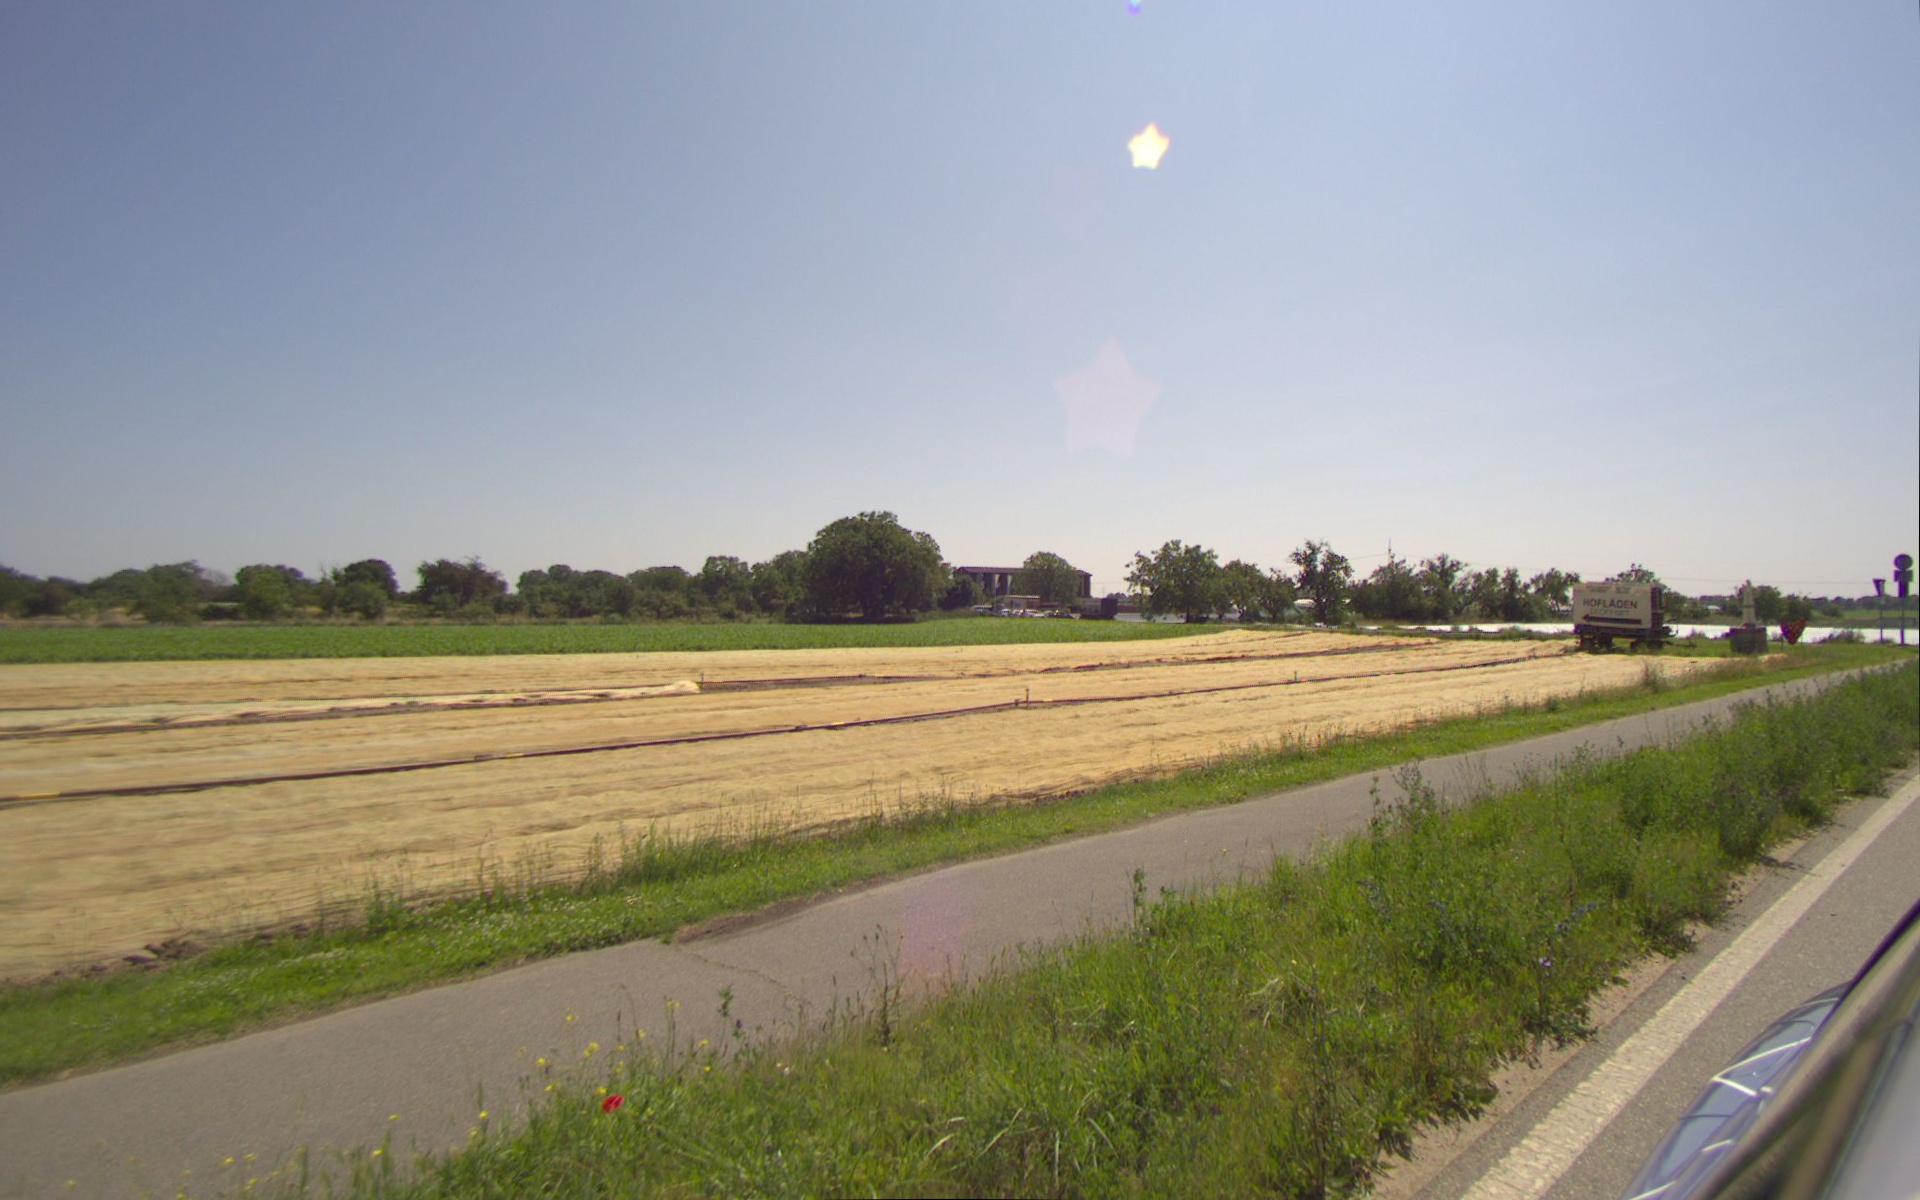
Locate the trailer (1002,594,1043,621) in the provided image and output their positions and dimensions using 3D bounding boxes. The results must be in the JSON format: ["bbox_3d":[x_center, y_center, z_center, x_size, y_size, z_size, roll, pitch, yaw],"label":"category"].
[{"bbox_3d":[10.284,1.267,167.052,3.094,4.275,7.447,0,-1,-30],"label":"trailer"}]

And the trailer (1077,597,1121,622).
[{"bbox_3d":[19.193,1.313,140.216,3.191,3.336,7.455,0,-1,-17],"label":"trailer"}]

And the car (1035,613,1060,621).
[{"bbox_3d":[12.239,2.361,141.410,3.212,1.213,1.298,1,-1,-27],"label":"car"}]

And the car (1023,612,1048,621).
[{"bbox_3d":[10.730,2.340,143.796,3.212,1.213,1.298,1,-1,-27],"label":"car"}]

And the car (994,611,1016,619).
[{"bbox_3d":[6.892,2.254,155.369,3.212,1.213,1.298,1,-1,-27],"label":"car"}]

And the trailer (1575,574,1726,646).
[{"bbox_3d":[30.555,0.391,44.998,1.958,2.989,5.306,-1,1,-23],"label":"trailer"}]
